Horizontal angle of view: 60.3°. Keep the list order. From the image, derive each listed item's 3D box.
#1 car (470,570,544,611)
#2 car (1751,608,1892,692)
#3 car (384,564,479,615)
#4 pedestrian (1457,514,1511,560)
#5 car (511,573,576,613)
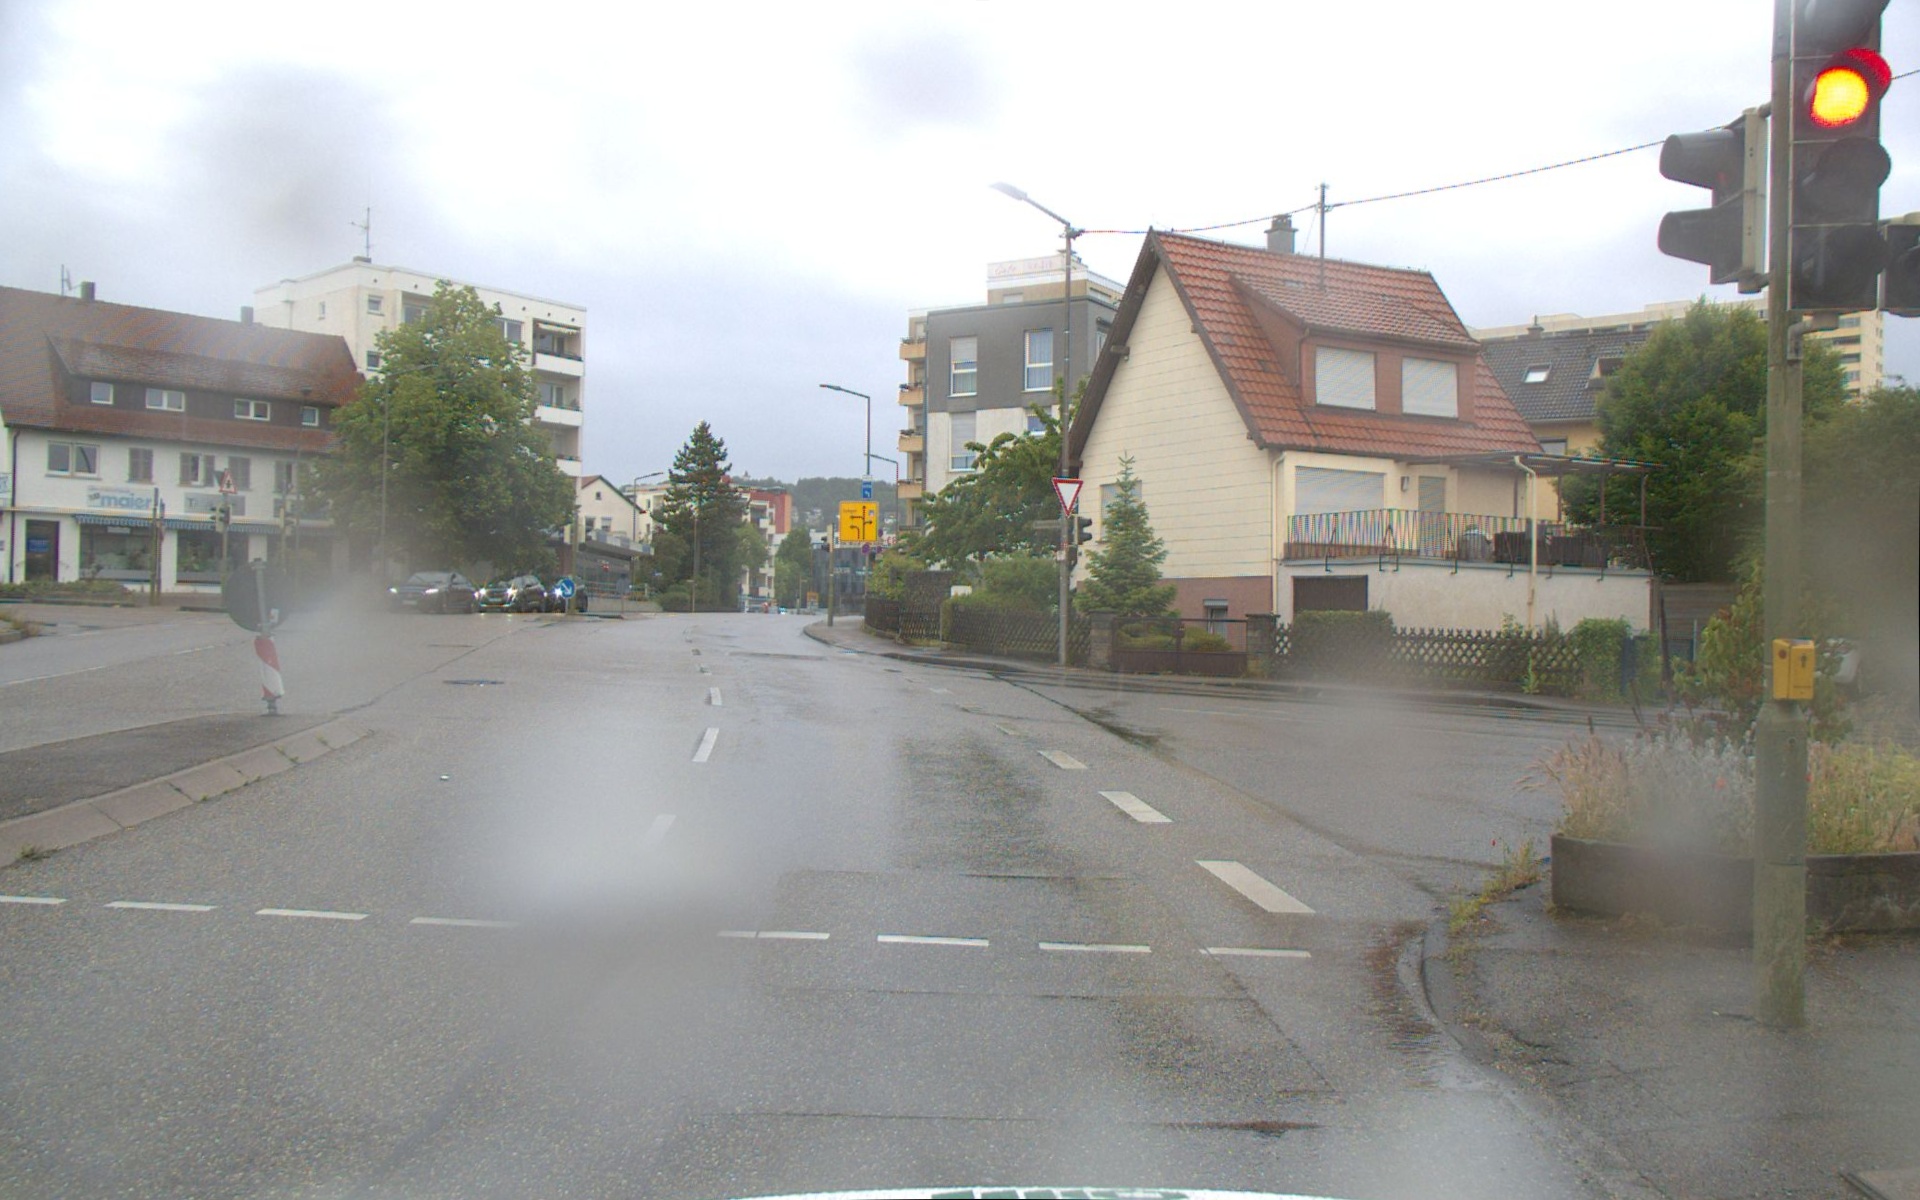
[{"bbox_3d":[-17.896,-0.371,65.496,1.927,1.538,3.998,1,0,-2],"label":"car"},{"bbox_3d":[15.614,0.870,29.884,1.780,1.386,3.986,1,0,35],"label":"car"},{"bbox_3d":[-18.112,-0.336,56.883,1.953,1.653,4.537,1,0,-2],"label":"car"},{"bbox_3d":[11.144,-1.330,35.185,0.902,0.898,0.632,1,-2,-20],"label":"pedestrian"},{"bbox_3d":[-17.849,-0.291,70.997,1.841,1.625,4.182,1,0,-2],"label":"car"}]
